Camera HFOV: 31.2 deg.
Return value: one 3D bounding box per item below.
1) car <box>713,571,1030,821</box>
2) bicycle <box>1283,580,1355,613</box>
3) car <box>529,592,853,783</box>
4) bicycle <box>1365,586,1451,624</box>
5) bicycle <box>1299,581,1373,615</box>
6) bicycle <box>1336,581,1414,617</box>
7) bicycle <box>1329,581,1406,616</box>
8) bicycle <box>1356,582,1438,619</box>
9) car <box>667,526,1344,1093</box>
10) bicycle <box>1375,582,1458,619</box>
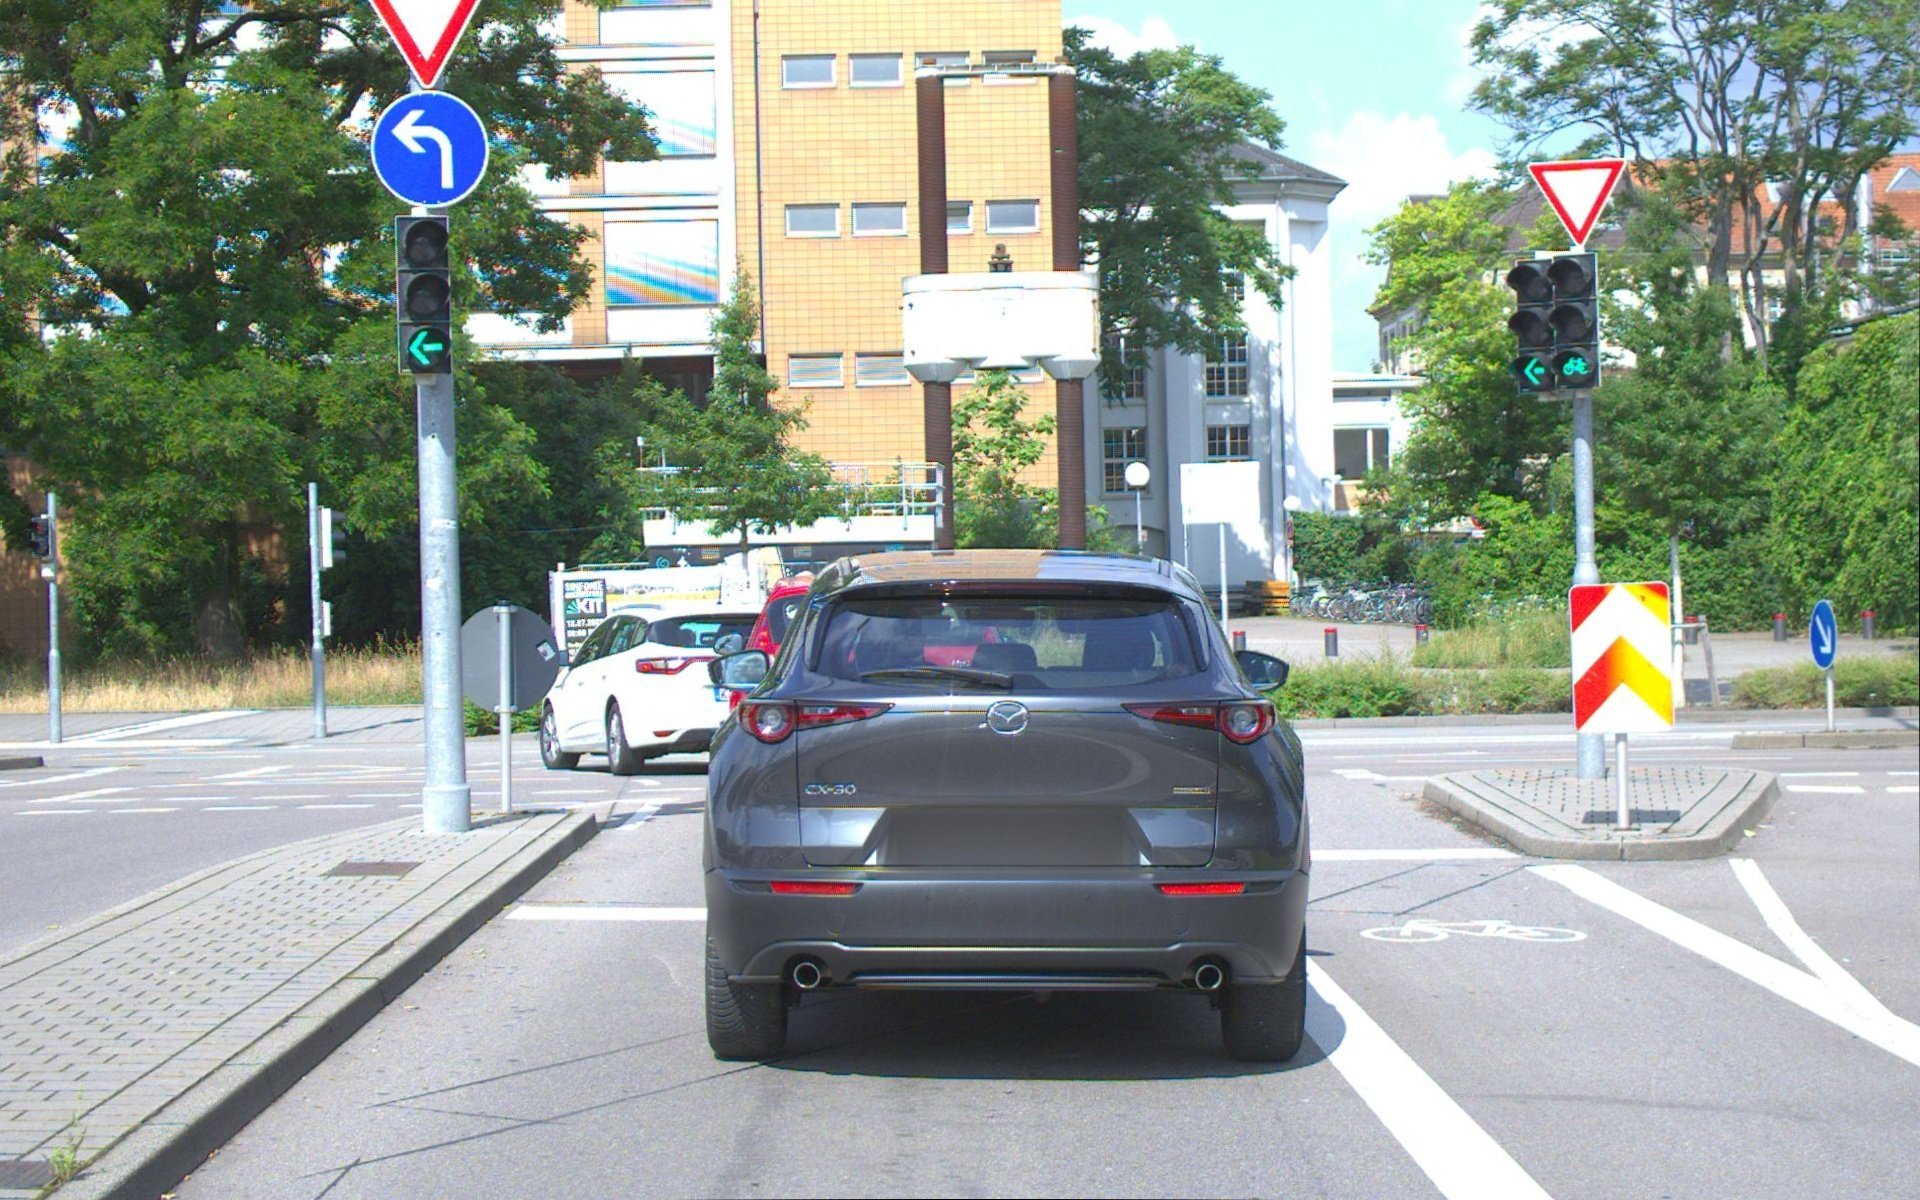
[{"bbox_3d":[-0.586,0.540,21.823,1.816,1.434,4.068,0,0,-2],"label":"car"},{"bbox_3d":[10.970,-0.106,105.109,2.055,0.933,0.804,-1,0,-1],"label":"bicycle"},{"bbox_3d":[-2.418,0.697,29.816,1.847,1.467,4.336,-2,1,-17],"label":"car"},{"bbox_3d":[11.467,0.126,88.061,2.055,0.933,0.804,-1,0,-1],"label":"bicycle"},{"bbox_3d":[10.960,-0.068,100.249,2.055,0.933,0.804,-1,0,-1],"label":"bicycle"},{"bbox_3d":[11.528,-0.024,95.520,2.055,0.933,0.804,-1,0,-1],"label":"bicycle"},{"bbox_3d":[11.435,-0.035,96.515,2.055,0.933,0.804,-1,0,-1],"label":"bicycle"},{"bbox_3d":[11.689,0.004,92.057,2.055,0.933,0.804,-1,0,-1],"label":"bicycle"},{"bbox_3d":[0.078,0.548,11.443,1.806,1.503,4.205,1,1,-1],"label":"car"},{"bbox_3d":[12.039,0.019,90.743,2.055,0.933,0.804,-1,0,-1],"label":"bicycle"}]
